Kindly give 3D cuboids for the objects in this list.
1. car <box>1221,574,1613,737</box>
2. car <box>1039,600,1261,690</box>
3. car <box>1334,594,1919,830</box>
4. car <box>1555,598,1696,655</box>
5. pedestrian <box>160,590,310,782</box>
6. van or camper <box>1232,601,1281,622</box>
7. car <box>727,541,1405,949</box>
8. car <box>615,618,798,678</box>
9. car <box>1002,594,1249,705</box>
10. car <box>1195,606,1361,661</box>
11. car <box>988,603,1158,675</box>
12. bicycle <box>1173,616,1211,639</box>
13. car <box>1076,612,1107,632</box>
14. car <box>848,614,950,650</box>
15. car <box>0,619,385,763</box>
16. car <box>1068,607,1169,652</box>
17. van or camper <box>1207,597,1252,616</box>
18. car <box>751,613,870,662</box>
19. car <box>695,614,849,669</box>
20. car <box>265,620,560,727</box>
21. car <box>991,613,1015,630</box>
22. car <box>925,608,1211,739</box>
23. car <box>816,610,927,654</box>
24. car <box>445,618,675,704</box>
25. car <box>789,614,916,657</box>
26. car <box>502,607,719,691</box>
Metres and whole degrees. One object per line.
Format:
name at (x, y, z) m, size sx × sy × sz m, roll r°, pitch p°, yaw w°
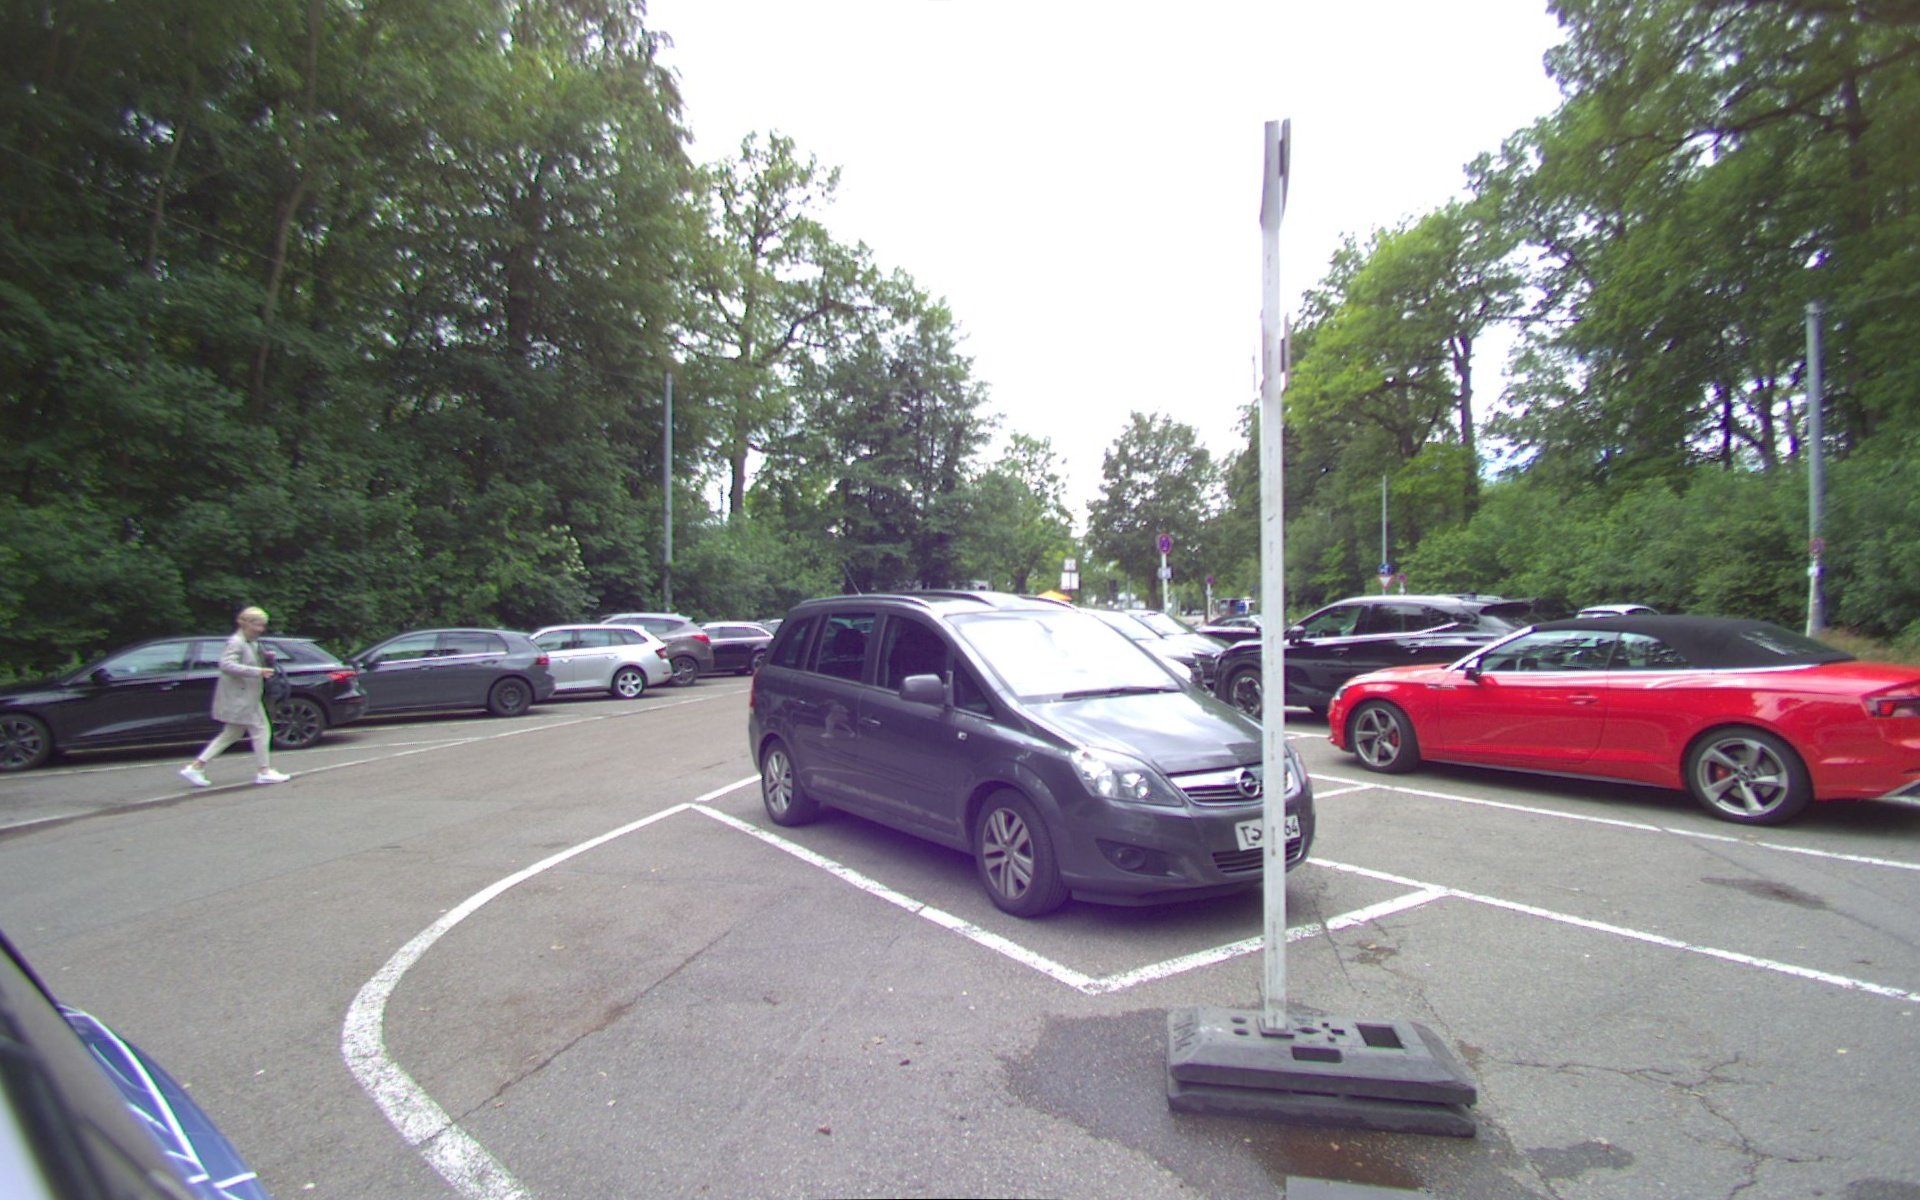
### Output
car at (5.456, 0.612, 12.567) m, size 1.867 × 1.676 × 4.010 m, roll 0°, pitch -1°, yaw -35°
car at (3.603, 0.840, 19.760) m, size 1.843 × 1.566 × 4.007 m, roll 0°, pitch -2°, yaw -40°
car at (5.423, 0.702, 8.060) m, size 1.739 × 1.404 × 4.404 m, roll 0°, pitch -1°, yaw -33°
car at (19.015, 0.721, 28.876) m, size 3.932 × 1.522 × 1.875 m, roll 0°, pitch -1°, yaw -32°
pedestrian at (-6.894, 0.790, 9.655) m, size 0.757 × 1.738 × 0.893 m, roll -1°, pitch -1°, yaw 13°
van or camper at (41.914, 1.579, 143.110) m, size 7.214 × 2.871 × 2.075 m, roll -1°, pitch -1°, yaw -28°
car at (0.221, 0.624, 6.358) m, size 1.799 × 1.621 × 4.399 m, roll 0°, pitch -1°, yaw -34°
car at (-6.592, 1.212, 26.441) m, size 4.192 × 1.388 × 1.970 m, roll 0°, pitch -1°, yaw -35°
car at (2.614, 0.778, 16.831) m, size 1.816 × 1.599 × 3.988 m, roll 0°, pitch -2°, yaw -33°
car at (9.085, 0.935, 29.268) m, size 1.839 × 1.453 × 4.326 m, roll 0°, pitch -1°, yaw -36°
car at (2.686, 0.937, 24.894) m, size 1.816 × 1.609 × 4.200 m, roll 0°, pitch -2°, yaw -35°
bicycle at (11.308, 1.336, 49.284) m, size 1.772 × 1.120 × 0.480 m, roll -1°, pitch -1°, yaw 16°
car at (11.588, 1.930, 89.628) m, size 1.907 × 1.682 × 4.349 m, roll -1°, pitch -1°, yaw -4°
car at (-2.675, 1.394, 44.477) m, size 4.049 × 1.449 × 1.875 m, roll -1°, pitch -1°, yaw -30°
car at (-9.510, 1.021, 12.473) m, size 4.134 × 1.473 × 1.904 m, roll -1°, pitch -1°, yaw -32°
car at (5.928, 1.093, 38.207) m, size 1.659 × 1.597 × 3.663 m, roll 0°, pitch -1°, yaw -36°
van or camper at (44.282, 1.056, 166.360) m, size 7.213 × 2.871 × 2.211 m, roll -1°, pitch -1°, yaw -23°
car at (-4.951, 1.211, 33.581) m, size 3.521 × 1.516 × 1.740 m, roll 0°, pitch -1°, yaw -31°
car at (-5.567, 1.196, 30.092) m, size 4.116 × 1.468 × 1.810 m, roll 0°, pitch -1°, yaw -33°
car at (-8.665, 1.080, 16.148) m, size 3.933 × 1.433 × 1.915 m, roll 0°, pitch -1°, yaw -33°
car at (4.111, 2.078, 96.950) m, size 1.971 × 1.564 × 4.001 m, roll -1°, pitch -1°, yaw -2°
car at (1.277, 0.877, 13.484) m, size 1.743 × 1.454 × 3.856 m, roll 0°, pitch -1°, yaw -33°
car at (-3.579, 1.250, 40.915) m, size 4.049 × 1.630 × 1.848 m, roll -1°, pitch -1°, yaw -30°
car at (-7.720, 1.113, 19.552) m, size 3.931 × 1.478 × 1.841 m, roll 0°, pitch -2°, yaw -29°
car at (-3.947, 1.274, 37.380) m, size 4.222 × 1.424 × 1.934 m, roll -1°, pitch -1°, yaw -29°
car at (-7.734, 1.029, 22.476) m, size 4.191 × 1.649 × 1.971 m, roll 0°, pitch -1°, yaw -33°
